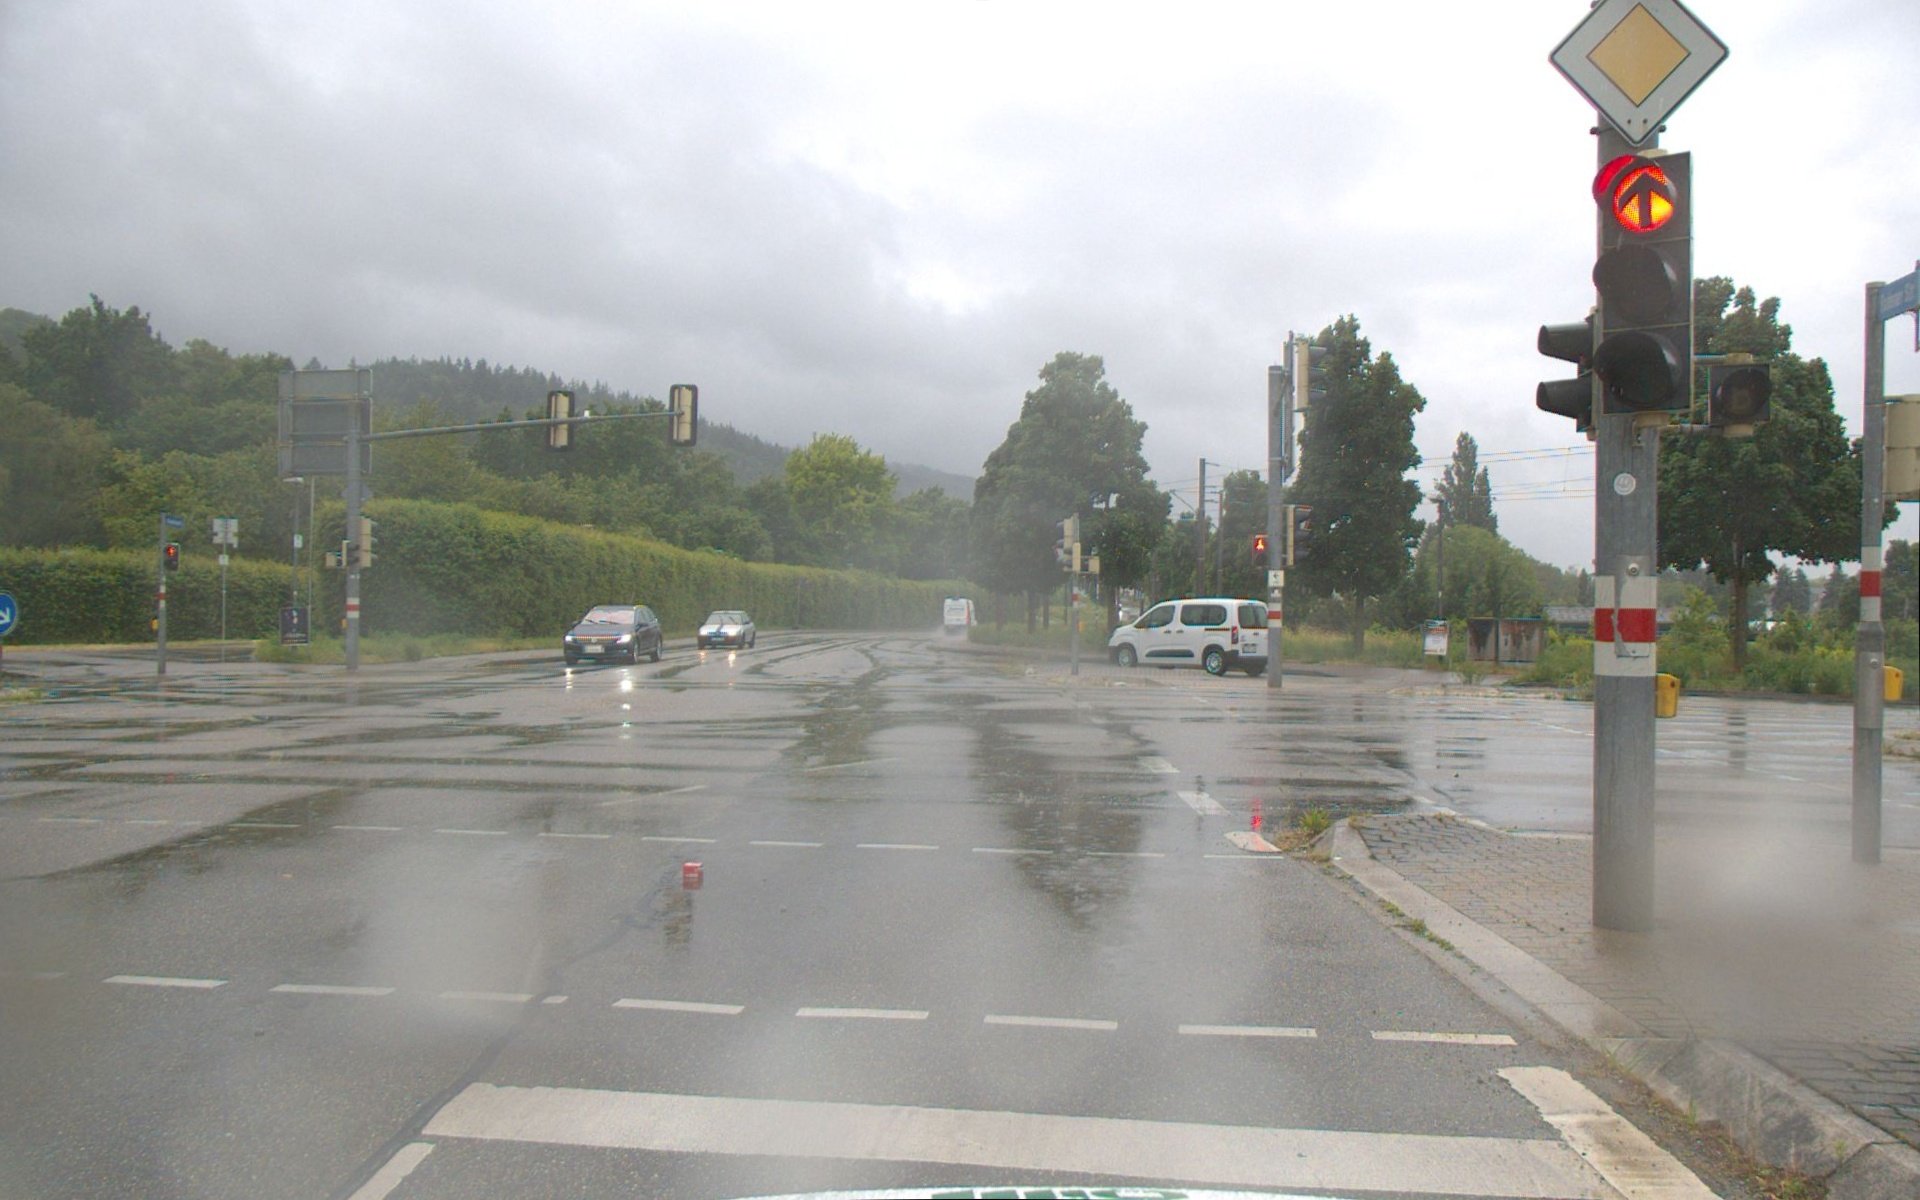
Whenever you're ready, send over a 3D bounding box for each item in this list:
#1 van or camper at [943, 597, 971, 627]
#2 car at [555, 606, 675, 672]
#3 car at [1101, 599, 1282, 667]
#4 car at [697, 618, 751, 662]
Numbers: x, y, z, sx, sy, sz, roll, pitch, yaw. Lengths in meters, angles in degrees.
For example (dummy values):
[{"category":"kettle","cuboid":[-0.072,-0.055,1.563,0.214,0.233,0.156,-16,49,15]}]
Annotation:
[{"category":"van or camper","cuboid":[-0.236,0.929,127.826,2.109,2.207,4.864,1,0,0]},{"category":"car","cuboid":[-8.993,0.982,43.481,1.839,1.601,4.647,-1,0,4]},{"category":"car","cuboid":[5.665,0.770,40.881,1.808,1.581,4.280,0,0,-43]},{"category":"car","cuboid":[-8.691,1.444,61.161,1.526,1.507,3.360,1,0,0]}]
